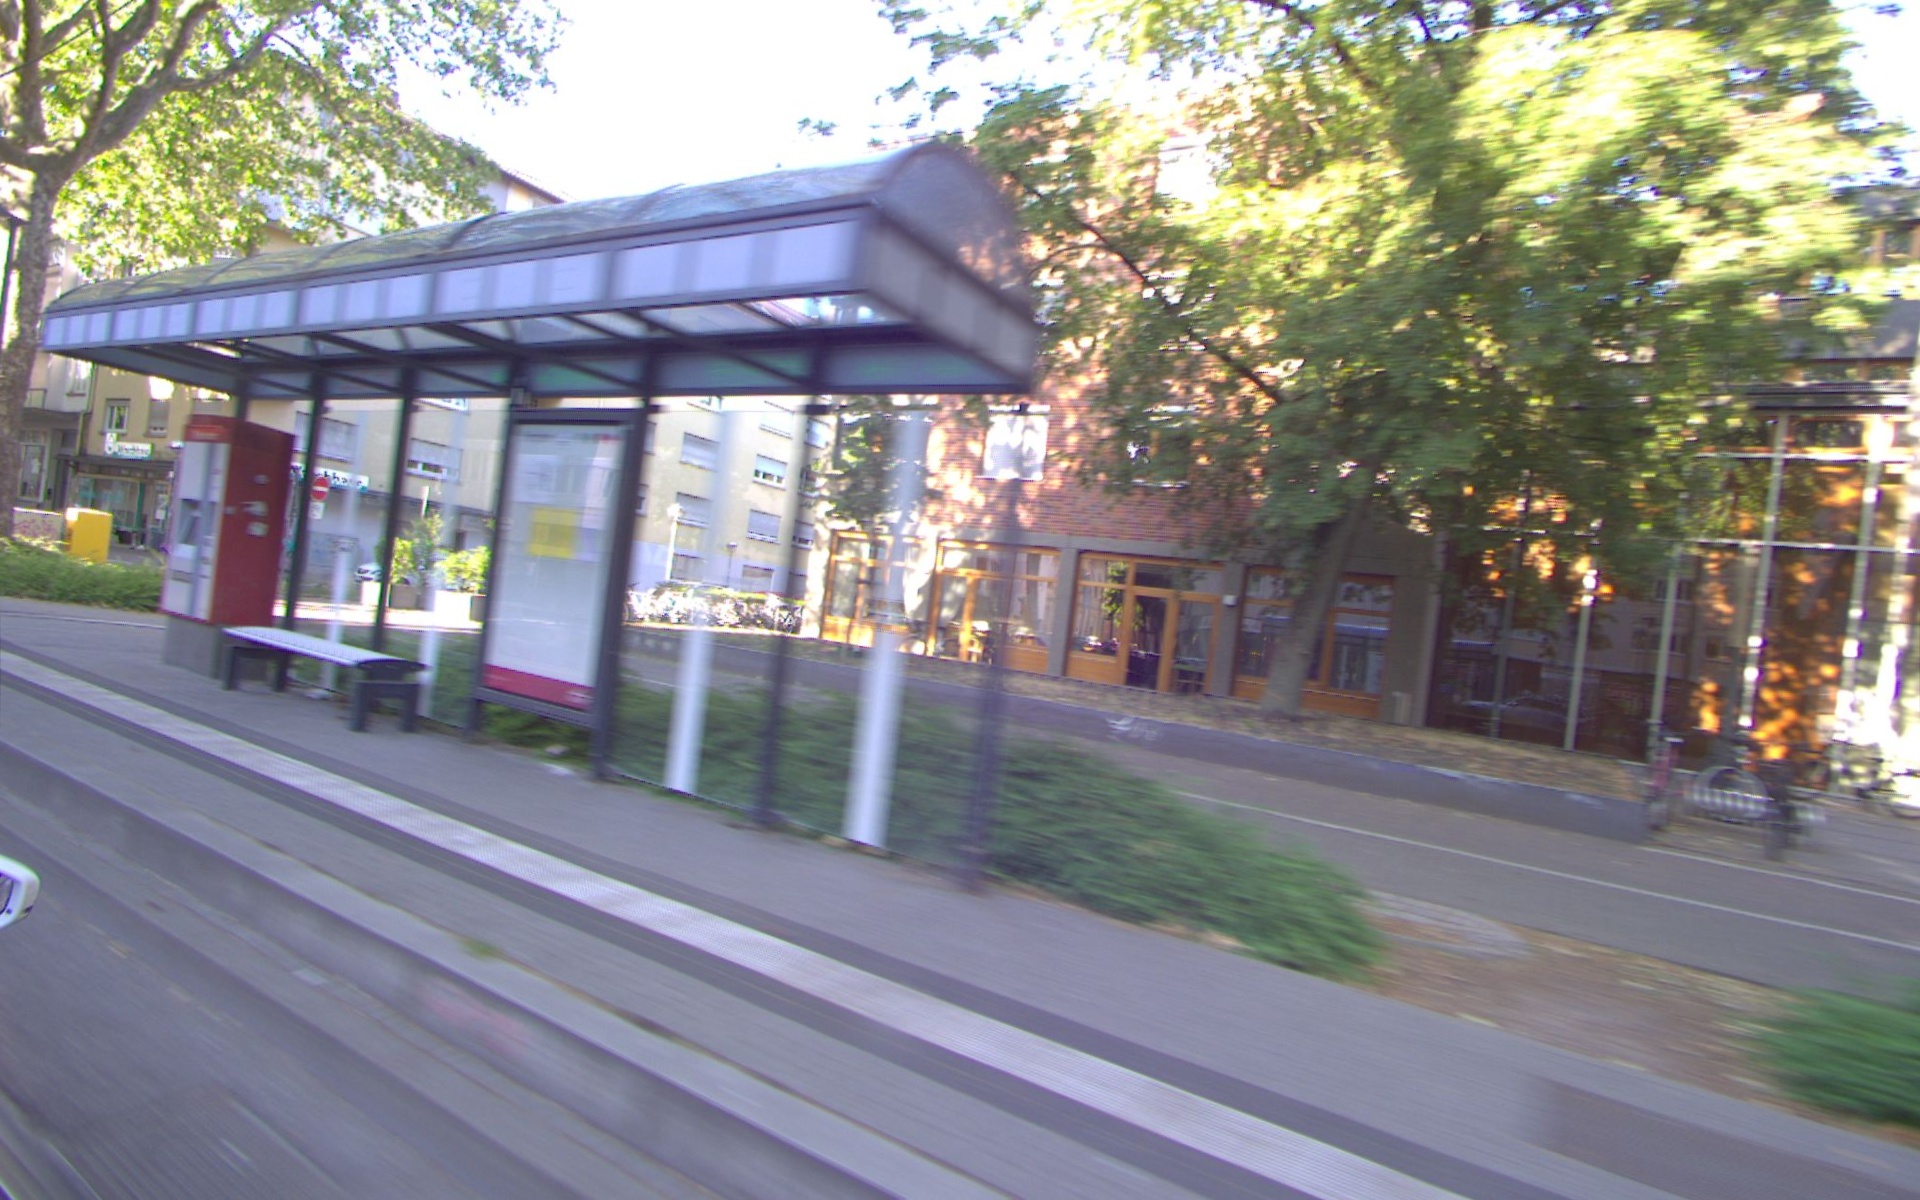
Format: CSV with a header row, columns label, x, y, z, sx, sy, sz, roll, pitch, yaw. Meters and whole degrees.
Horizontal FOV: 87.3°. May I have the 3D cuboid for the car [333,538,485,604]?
label,x,y,z,sx,sy,sz,roll,pitch,yaw
car,-18.095,-0.922,33.202,1.835,1.571,3.867,10,1,31

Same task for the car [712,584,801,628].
label,x,y,z,sx,sy,sz,roll,pitch,yaw
car,-9.609,0.314,47.648,1.835,1.571,3.867,10,1,31

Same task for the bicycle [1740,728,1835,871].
label,x,y,z,sx,sy,sz,roll,pitch,yaw
bicycle,8.366,1.944,10.136,0.564,1.171,2.027,7,1,41

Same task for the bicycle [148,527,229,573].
label,x,y,z,sx,sy,sz,roll,pitch,yaw
bicycle,-22.522,-1.436,29.415,0.731,1.171,1.797,6,1,10

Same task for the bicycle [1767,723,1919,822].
label,x,y,z,sx,sy,sz,roll,pitch,yaw
bicycle,13.962,2.672,15.695,2.009,1.171,0.704,7,2,41

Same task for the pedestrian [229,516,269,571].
label,x,y,z,sx,sy,sz,roll,pitch,yaw
pedestrian,-23.688,-1.876,33.525,0.649,1.703,0.703,7,0,4

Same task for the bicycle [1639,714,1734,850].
label,x,y,z,sx,sy,sz,roll,pitch,yaw
bicycle,7.804,1.903,10.874,0.563,1.171,2.032,7,1,32

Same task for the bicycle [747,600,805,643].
label,x,y,z,sx,sy,sz,roll,pitch,yaw
bicycle,-5.776,0.672,31.594,1.666,1.172,0.521,6,2,21

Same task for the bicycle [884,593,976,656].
label,x,y,z,sx,sy,sz,roll,pitch,yaw
bicycle,-0.610,0.526,21.098,1.921,1.171,0.565,5,1,-43

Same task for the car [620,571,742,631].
label,x,y,z,sx,sy,sz,roll,pitch,yaw
car,-9.915,0.072,35.958,1.835,1.713,3.867,7,-1,31

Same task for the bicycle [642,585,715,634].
label,x,y,z,sx,sy,sz,roll,pitch,yaw
bicycle,-7.979,0.266,28.437,2.017,1.171,0.731,7,2,32

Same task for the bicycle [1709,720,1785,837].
label,x,y,z,sx,sy,sz,roll,pitch,yaw
bicycle,9.608,2.132,12.332,0.563,1.171,2.030,7,1,37

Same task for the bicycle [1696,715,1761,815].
label,x,y,z,sx,sy,sz,roll,pitch,yaw
bicycle,10.661,2.254,13.988,0.563,1.171,1.676,7,1,37

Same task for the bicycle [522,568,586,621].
label,x,y,z,sx,sy,sz,roll,pitch,yaw
bicycle,-10.360,-0.156,25.648,1.671,1.171,0.600,7,2,35

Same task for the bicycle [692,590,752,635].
label,x,y,z,sx,sy,sz,roll,pitch,yaw
bicycle,-7.091,0.373,30.004,1.669,1.171,0.661,7,2,31

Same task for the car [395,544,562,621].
label,x,y,z,sx,sy,sz,roll,pitch,yaw
car,-13.828,-0.464,29.114,1.835,1.713,3.867,7,-1,31

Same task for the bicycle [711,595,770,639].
label,x,y,z,sx,sy,sz,roll,pitch,yaw
bicycle,-6.694,0.517,30.605,1.669,1.171,0.661,7,2,31

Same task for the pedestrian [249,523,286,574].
label,x,y,z,sx,sy,sz,roll,pitch,yaw
pedestrian,-22.734,-1.682,33.030,0.692,1.558,0.688,7,0,-17

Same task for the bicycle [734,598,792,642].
label,x,y,z,sx,sy,sz,roll,pitch,yaw
bicycle,-6.077,0.611,31.018,1.668,1.172,0.563,7,2,27

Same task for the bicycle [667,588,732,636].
label,x,y,z,sx,sy,sz,roll,pitch,yaw
bicycle,-7.602,0.347,29.316,1.820,1.171,0.661,7,2,31

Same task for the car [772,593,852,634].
label,x,y,z,sx,sy,sz,roll,pitch,yaw
car,-7.482,0.714,51.135,1.835,1.571,3.867,10,1,31

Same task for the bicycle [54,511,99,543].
label,x,y,z,sx,sy,sz,roll,pitch,yaw
bicycle,-32.390,-2.675,36.877,1.749,1.010,0.571,7,2,27

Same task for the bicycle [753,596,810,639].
label,x,y,z,sx,sy,sz,roll,pitch,yaw
bicycle,-5.734,0.565,32.294,1.666,1.172,0.564,6,2,21

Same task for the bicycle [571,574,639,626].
label,x,y,z,sx,sy,sz,roll,pitch,yaw
bicycle,-9.275,0.008,26.265,1.668,1.171,0.601,7,2,27

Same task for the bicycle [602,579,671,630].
label,x,y,z,sx,sy,sz,roll,pitch,yaw
bicycle,-8.833,0.110,27.452,1.950,1.171,0.636,7,2,34
